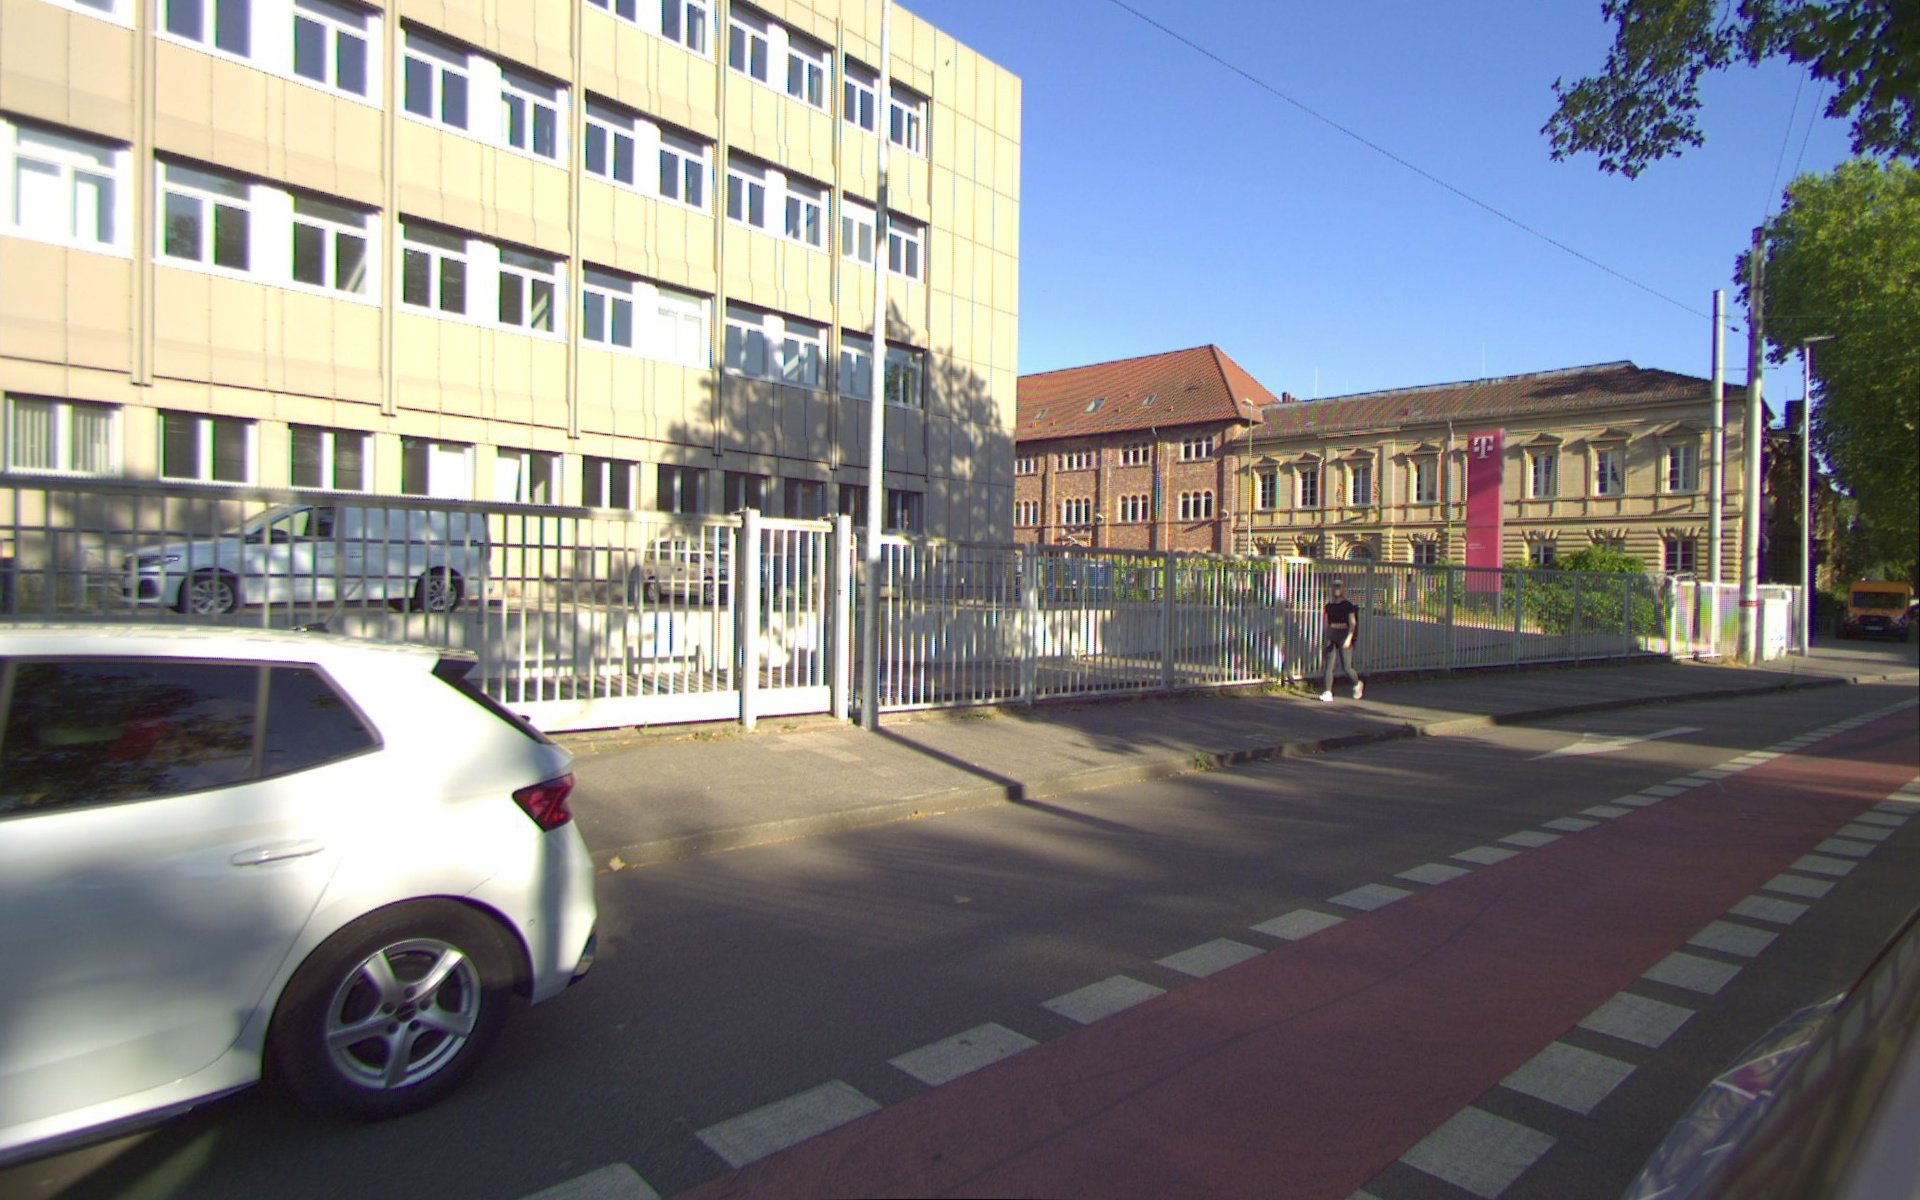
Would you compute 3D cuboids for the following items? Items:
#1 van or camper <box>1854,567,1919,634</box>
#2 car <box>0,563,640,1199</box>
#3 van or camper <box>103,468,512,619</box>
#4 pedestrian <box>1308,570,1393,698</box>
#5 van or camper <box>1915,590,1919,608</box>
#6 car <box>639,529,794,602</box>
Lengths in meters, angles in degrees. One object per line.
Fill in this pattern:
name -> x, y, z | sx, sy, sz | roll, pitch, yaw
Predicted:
van or camper -> 38.764, 0.003, 42.042 | 5.679, 2.591, 2.037 | 0, 1, -45
car -> -3.104, 0.688, 2.704 | 3.914, 1.520, 1.803 | 0, -1, -43
van or camper -> -9.742, -0.761, 15.462 | 1.980, 1.932, 4.922 | 2, 2, 43
pedestrian -> 5.450, 0.446, 14.111 | 0.913, 1.705, 0.698 | 0, 1, -36
van or camper -> 136.602, -0.058, 140.334 | 6.085, 2.461, 2.389 | 2, 1, 44
car -> -6.400, -0.895, 26.340 | 4.252, 1.739, 1.962 | 2, 1, 44
